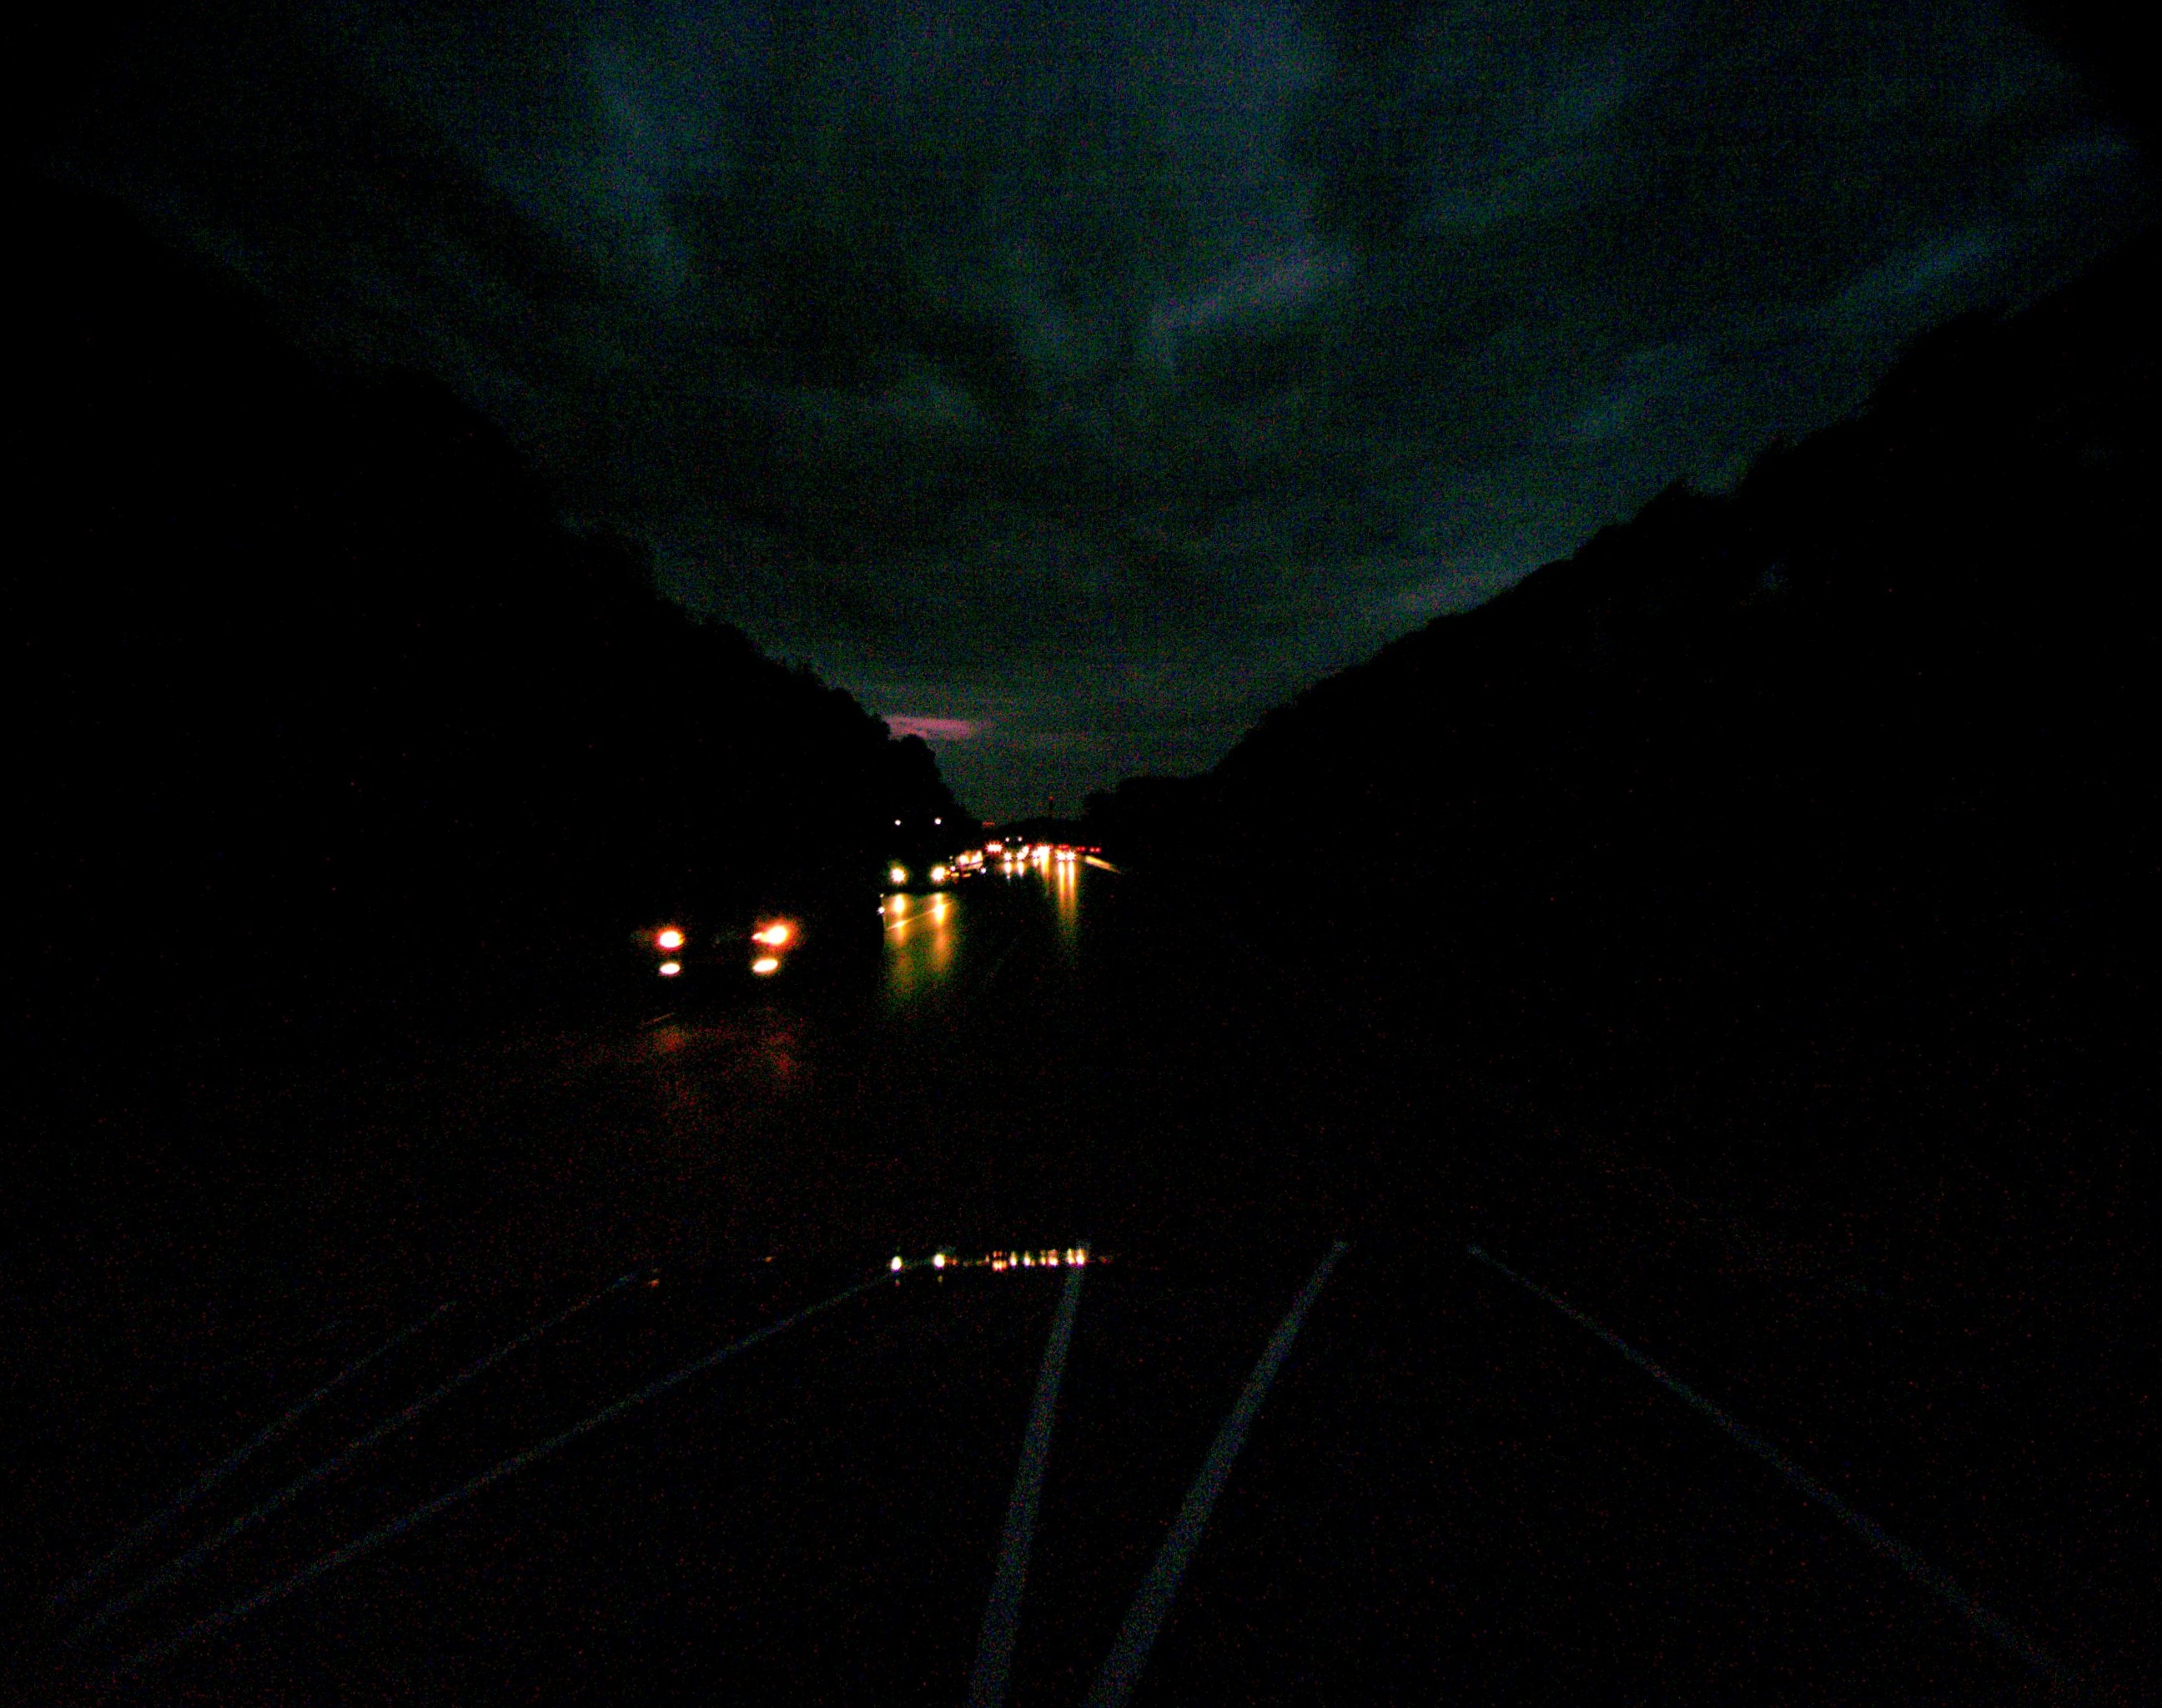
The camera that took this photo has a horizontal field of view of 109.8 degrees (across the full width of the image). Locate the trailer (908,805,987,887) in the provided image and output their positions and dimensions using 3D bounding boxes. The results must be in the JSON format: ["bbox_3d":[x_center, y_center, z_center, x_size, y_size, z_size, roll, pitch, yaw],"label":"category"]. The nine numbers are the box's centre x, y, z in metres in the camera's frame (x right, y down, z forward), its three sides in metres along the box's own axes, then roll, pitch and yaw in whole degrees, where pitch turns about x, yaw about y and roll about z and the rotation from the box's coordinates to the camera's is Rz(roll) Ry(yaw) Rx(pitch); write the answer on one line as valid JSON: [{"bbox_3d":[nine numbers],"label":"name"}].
[{"bbox_3d":[-7.579,-0.548,45.056,2.489,4.050,13.500,-2,1,-1],"label":"trailer"}]

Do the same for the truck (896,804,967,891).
[{"bbox_3d":[-7.358,-0.342,38.032,2.498,3.945,5.588,-2,1,-2],"label":"truck"}]

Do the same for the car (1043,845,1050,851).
[{"bbox_3d":[-9.437,-1.609,207.864,1.696,1.481,4.947,0,1,-3],"label":"car"}]

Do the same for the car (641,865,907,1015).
[{"bbox_3d":[-4.059,1.016,11.110,1.695,1.481,4.948,-2,1,2],"label":"car"}]

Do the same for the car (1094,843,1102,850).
[{"bbox_3d":[4.041,-1.804,182.328,1.602,1.480,4.229,-2,1,-3],"label":"car"}]

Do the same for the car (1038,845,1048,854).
[{"bbox_3d":[-7.020,-0.858,140.305,1.924,1.706,4.941,-2,1,-3],"label":"car"}]

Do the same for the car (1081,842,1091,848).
[{"bbox_3d":[1.392,-2.591,214.589,1.924,1.706,5.282,-2,1,-6],"label":"car"}]

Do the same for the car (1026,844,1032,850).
[{"bbox_3d":[-17.503,-2.376,256.328,1.999,1.641,3.998,-2,1,-3],"label":"car"}]

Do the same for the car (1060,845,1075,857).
[{"bbox_3d":[-1.892,-0.448,108.509,1.870,1.701,4.584,-2,0,2],"label":"car"}]

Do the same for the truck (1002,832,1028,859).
[{"bbox_3d":[-10.231,-1.386,119.171,3.341,3.945,13.531,-2,1,-2],"label":"truck"}]
